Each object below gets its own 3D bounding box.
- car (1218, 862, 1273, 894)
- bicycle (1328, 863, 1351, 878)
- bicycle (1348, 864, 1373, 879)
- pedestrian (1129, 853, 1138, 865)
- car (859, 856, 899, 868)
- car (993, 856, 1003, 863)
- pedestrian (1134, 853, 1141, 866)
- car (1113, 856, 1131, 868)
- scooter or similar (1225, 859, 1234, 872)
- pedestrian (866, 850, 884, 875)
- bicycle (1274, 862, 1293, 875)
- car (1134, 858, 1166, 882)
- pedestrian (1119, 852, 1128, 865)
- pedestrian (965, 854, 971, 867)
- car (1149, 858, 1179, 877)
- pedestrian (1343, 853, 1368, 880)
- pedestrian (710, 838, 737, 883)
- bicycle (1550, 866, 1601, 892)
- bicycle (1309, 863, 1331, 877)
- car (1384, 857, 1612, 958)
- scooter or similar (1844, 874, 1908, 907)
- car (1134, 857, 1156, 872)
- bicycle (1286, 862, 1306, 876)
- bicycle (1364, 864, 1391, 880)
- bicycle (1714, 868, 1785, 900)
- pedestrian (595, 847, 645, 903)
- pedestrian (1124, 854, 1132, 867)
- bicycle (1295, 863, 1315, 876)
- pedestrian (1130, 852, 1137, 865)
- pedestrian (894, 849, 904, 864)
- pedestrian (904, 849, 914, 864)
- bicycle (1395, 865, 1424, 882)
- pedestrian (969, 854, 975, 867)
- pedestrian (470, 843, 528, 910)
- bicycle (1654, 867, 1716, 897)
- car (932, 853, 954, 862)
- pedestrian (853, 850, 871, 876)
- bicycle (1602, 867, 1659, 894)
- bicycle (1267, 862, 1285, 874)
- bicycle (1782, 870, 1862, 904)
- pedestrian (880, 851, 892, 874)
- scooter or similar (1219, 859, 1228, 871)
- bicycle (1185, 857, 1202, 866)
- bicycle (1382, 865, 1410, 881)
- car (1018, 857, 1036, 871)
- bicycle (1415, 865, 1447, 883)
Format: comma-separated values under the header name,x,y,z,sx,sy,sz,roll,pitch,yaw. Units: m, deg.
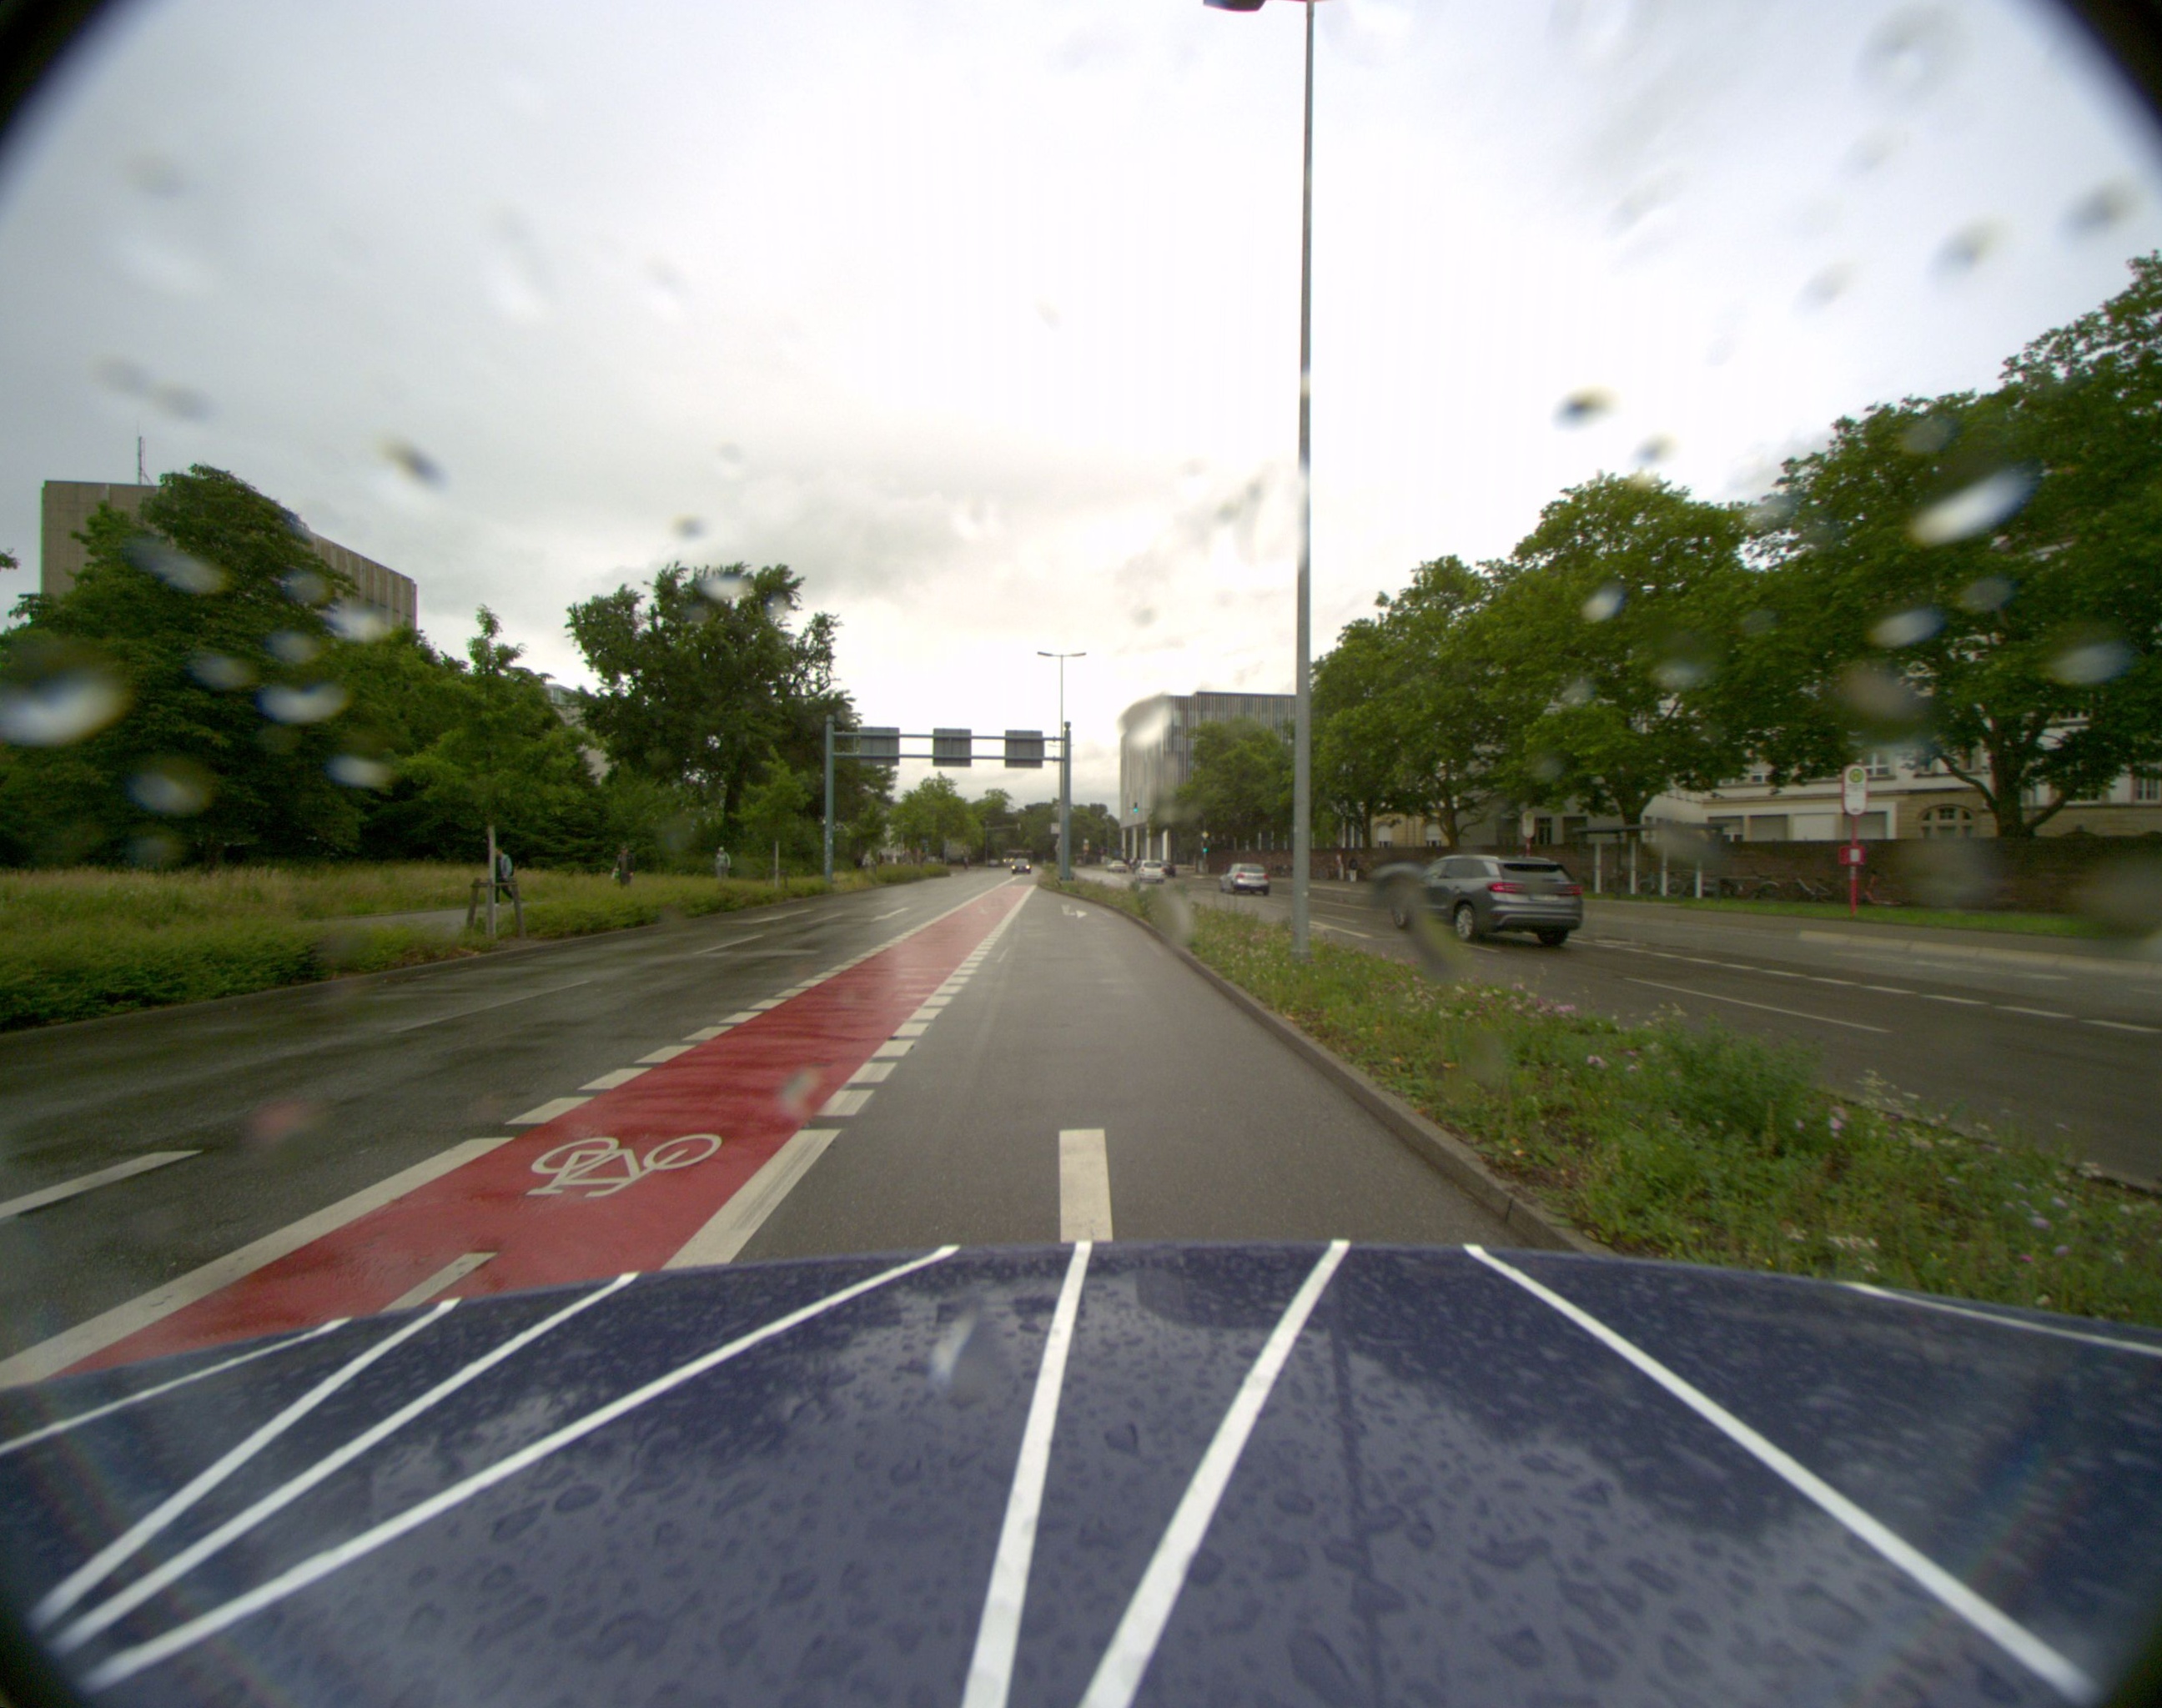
name,x,y,z,sx,sy,sz,roll,pitch,yaw
car,7.959,1.105,37.025,1.683,1.396,4.157,1,0,-1
bicycle,17.884,1.142,52.658,0.734,0.977,1.699,0,0,-14
bicycle,18.336,1.138,49.931,0.734,0.977,1.699,0,0,-14
pedestrian,7.737,0.701,111.828,0.941,1.813,0.922,0,0,-26
car,-24.404,0.943,91.925,4.389,1.330,1.771,0,3,-6
car,-15.656,1.091,143.151,1.661,1.259,4.105,0,0,-4
pedestrian,8.186,0.834,109.981,0.788,1.813,0.623,0,0,-26
car,5.001,0.979,93.584,1.601,1.407,4.522,2,0,-5
scooter or similar,14.071,1.061,72.025,0.392,1.191,1.141,-7,1,-9
pedestrian,-14.128,0.603,52.104,0.935,1.710,0.829,-1,-2,2
bicycle,16.090,1.149,60.358,0.734,0.977,1.699,0,0,-14
car,4.553,1.051,50.811,1.683,1.492,3.868,1,0,-1
pedestrian,6.302,0.690,111.572,0.941,1.813,0.921,0,0,-33
pedestrian,-15.651,0.865,105.058,0.625,1.813,0.785,0,0,-17
car,7.153,1.118,65.816,1.814,1.531,4.702,2,0,-3
pedestrian,17.360,0.770,48.068,0.871,1.686,1.399,0,0,-9
pedestrian,-16.067,0.301,34.166,0.792,2.002,0.829,0,0,4
bicycle,22.778,1.120,35.049,0.575,1.129,1.987,0,0,-22
bicycle,17.232,1.143,54.727,0.734,0.977,1.699,0,0,-14
car,8.055,0.925,15.302,1.998,1.626,4.602,2,0,0
scooter or similar,26.757,1.225,25.597,0.574,1.040,1.360,0,0,-19
car,6.570,1.070,78.584,1.628,1.407,4.064,2,0,-4
bicycle,16.625,1.149,58.708,0.734,0.977,1.699,0,0,-14
bicycle,18.836,1.136,48.252,0.734,0.977,1.699,0,0,-14
bicycle,25.302,1.122,28.784,0.575,1.129,1.988,0,0,-19
pedestrian,-14.819,0.662,24.468,0.935,1.737,1.046,0,0,4
pedestrian,6.539,0.894,104.834,0.788,1.813,0.794,0,0,-26
bicycle,16.647,1.143,56.526,0.733,0.977,1.863,0,0,-9
pedestrian,7.683,0.668,110.602,0.788,1.814,0.623,0,1,-26
pedestrian,-19.960,0.291,83.301,0.878,1.597,0.862,0,0,-26
pedestrian,-18.912,0.306,83.616,0.878,1.597,0.862,0,0,-25
bicycle,19.547,1.149,45.249,0.734,0.977,1.699,0,0,-14
pedestrian,-15.147,0.884,105.826,0.625,1.813,0.785,0,0,-25
pedestrian,-15.918,0.607,20.787,0.935,1.786,0.829,0,0,4
bicycle,24.566,1.122,30.936,0.575,1.129,1.988,0,0,-19
car,-28.388,0.679,156.004,4.428,1.861,1.636,0,0,-11
pedestrian,-15.103,0.625,52.372,0.935,1.693,0.829,-1,-2,2
bicycle,23.727,1.121,32.830,0.575,1.129,1.987,0,0,-22
bicycle,15.967,1.154,62.379,0.734,0.977,1.699,0,0,-14
bicycle,26.246,1.147,26.952,0.575,1.129,1.988,0,0,-19
pedestrian,-16.029,0.690,62.583,0.731,1.848,0.851,0,0,4
scooter or similar,13.859,1.065,73.844,0.392,1.191,1.141,-7,1,-7
bicycle,16.123,1.052,108.768,2.287,1.215,0.598,0,0,-15
bicycle,19.316,1.150,46.583,0.734,0.977,1.699,0,0,-14
car,-5.314,0.948,74.311,1.661,1.356,4.105,0,0,-4
bicycle,19.754,1.103,42.903,0.734,0.977,1.699,0,0,-14
